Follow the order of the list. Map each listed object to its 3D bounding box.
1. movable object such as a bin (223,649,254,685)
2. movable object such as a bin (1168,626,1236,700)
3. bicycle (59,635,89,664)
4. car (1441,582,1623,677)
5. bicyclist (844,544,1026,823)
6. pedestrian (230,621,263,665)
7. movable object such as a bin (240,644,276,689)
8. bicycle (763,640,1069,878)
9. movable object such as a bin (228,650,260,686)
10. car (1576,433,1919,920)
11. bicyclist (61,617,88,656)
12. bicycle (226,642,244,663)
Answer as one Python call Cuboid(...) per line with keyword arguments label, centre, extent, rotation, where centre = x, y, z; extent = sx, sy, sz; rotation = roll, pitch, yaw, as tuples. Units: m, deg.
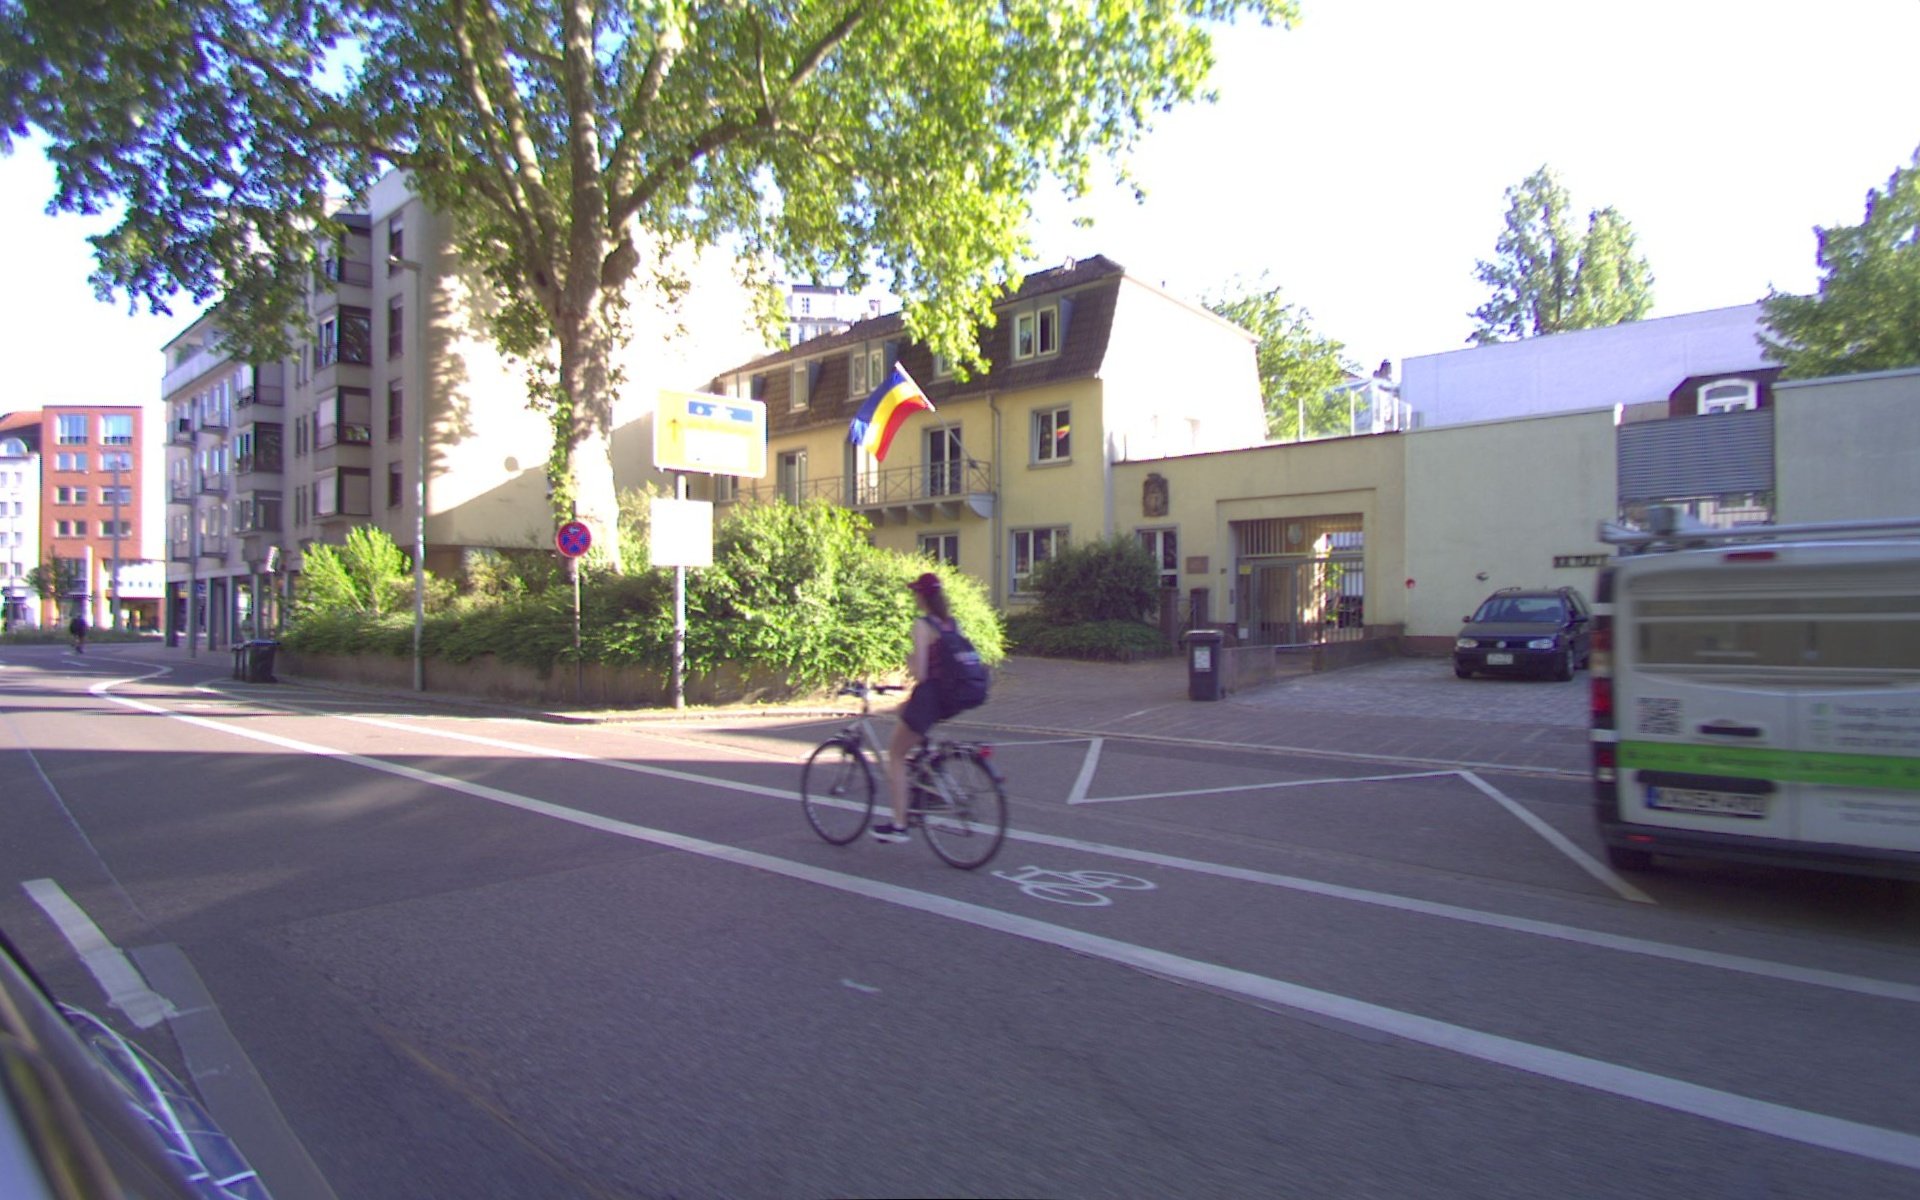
Cuboid(label="movable object such as a bin", centre=(-19.098, 1.771, 26.776), extent=(0.603, 0.908, 0.535), rotation=(-1, -2, 41))
Cuboid(label="movable object such as a bin", centre=(3.653, 0.933, 15.268), extent=(0.834, 1.051, 0.522), rotation=(-1, 0, 41))
Cuboid(label="bicycle", centre=(-38.591, 2.150, 44.067), extent=(2.178, 1.209, 0.720), rotation=(0, -2, 43))
Cuboid(label="car", centre=(9.941, 0.453, 17.477), extent=(1.890, 1.428, 3.819), rotation=(-2, 0, 43))
Cuboid(label="bicyclist", centre=(-0.155, 0.483, 6.192), extent=(0.933, 1.556, 0.600), rotation=(-1, -4, 41))
Cuboid(label="pedestrian", centre=(-28.764, 1.727, 40.797), extent=(0.718, 1.753, 0.829), rotation=(0, 0, 21))
Cuboid(label="movable object such as a bin", centre=(-17.625, 1.667, 25.411), extent=(0.644, 1.079, 0.588), rotation=(-1, -2, 41))
Cuboid(label="bicycle", centre=(-0.338, 0.890, 6.327), extent=(2.048, 1.249, 0.600), rotation=(-1, -4, 41))
Cuboid(label="movable object such as a bin", centre=(-18.660, 1.759, 26.376), extent=(0.559, 0.908, 0.535), rotation=(-1, -2, 41))
Cuboid(label="car", centre=(5.731, 0.314, 6.653), extent=(2.139, 2.233, 4.795), rotation=(0, 1, 40))
Cuboid(label="bicyclist", centre=(-38.555, 1.581, 44.060), extent=(1.167, 1.653, 0.721), rotation=(0, -1, 43))
Cuboid(label="bicycle", centre=(-31.024, 2.233, 43.282), extent=(1.523, 0.831, 0.354), rotation=(-1, -1, 44))
